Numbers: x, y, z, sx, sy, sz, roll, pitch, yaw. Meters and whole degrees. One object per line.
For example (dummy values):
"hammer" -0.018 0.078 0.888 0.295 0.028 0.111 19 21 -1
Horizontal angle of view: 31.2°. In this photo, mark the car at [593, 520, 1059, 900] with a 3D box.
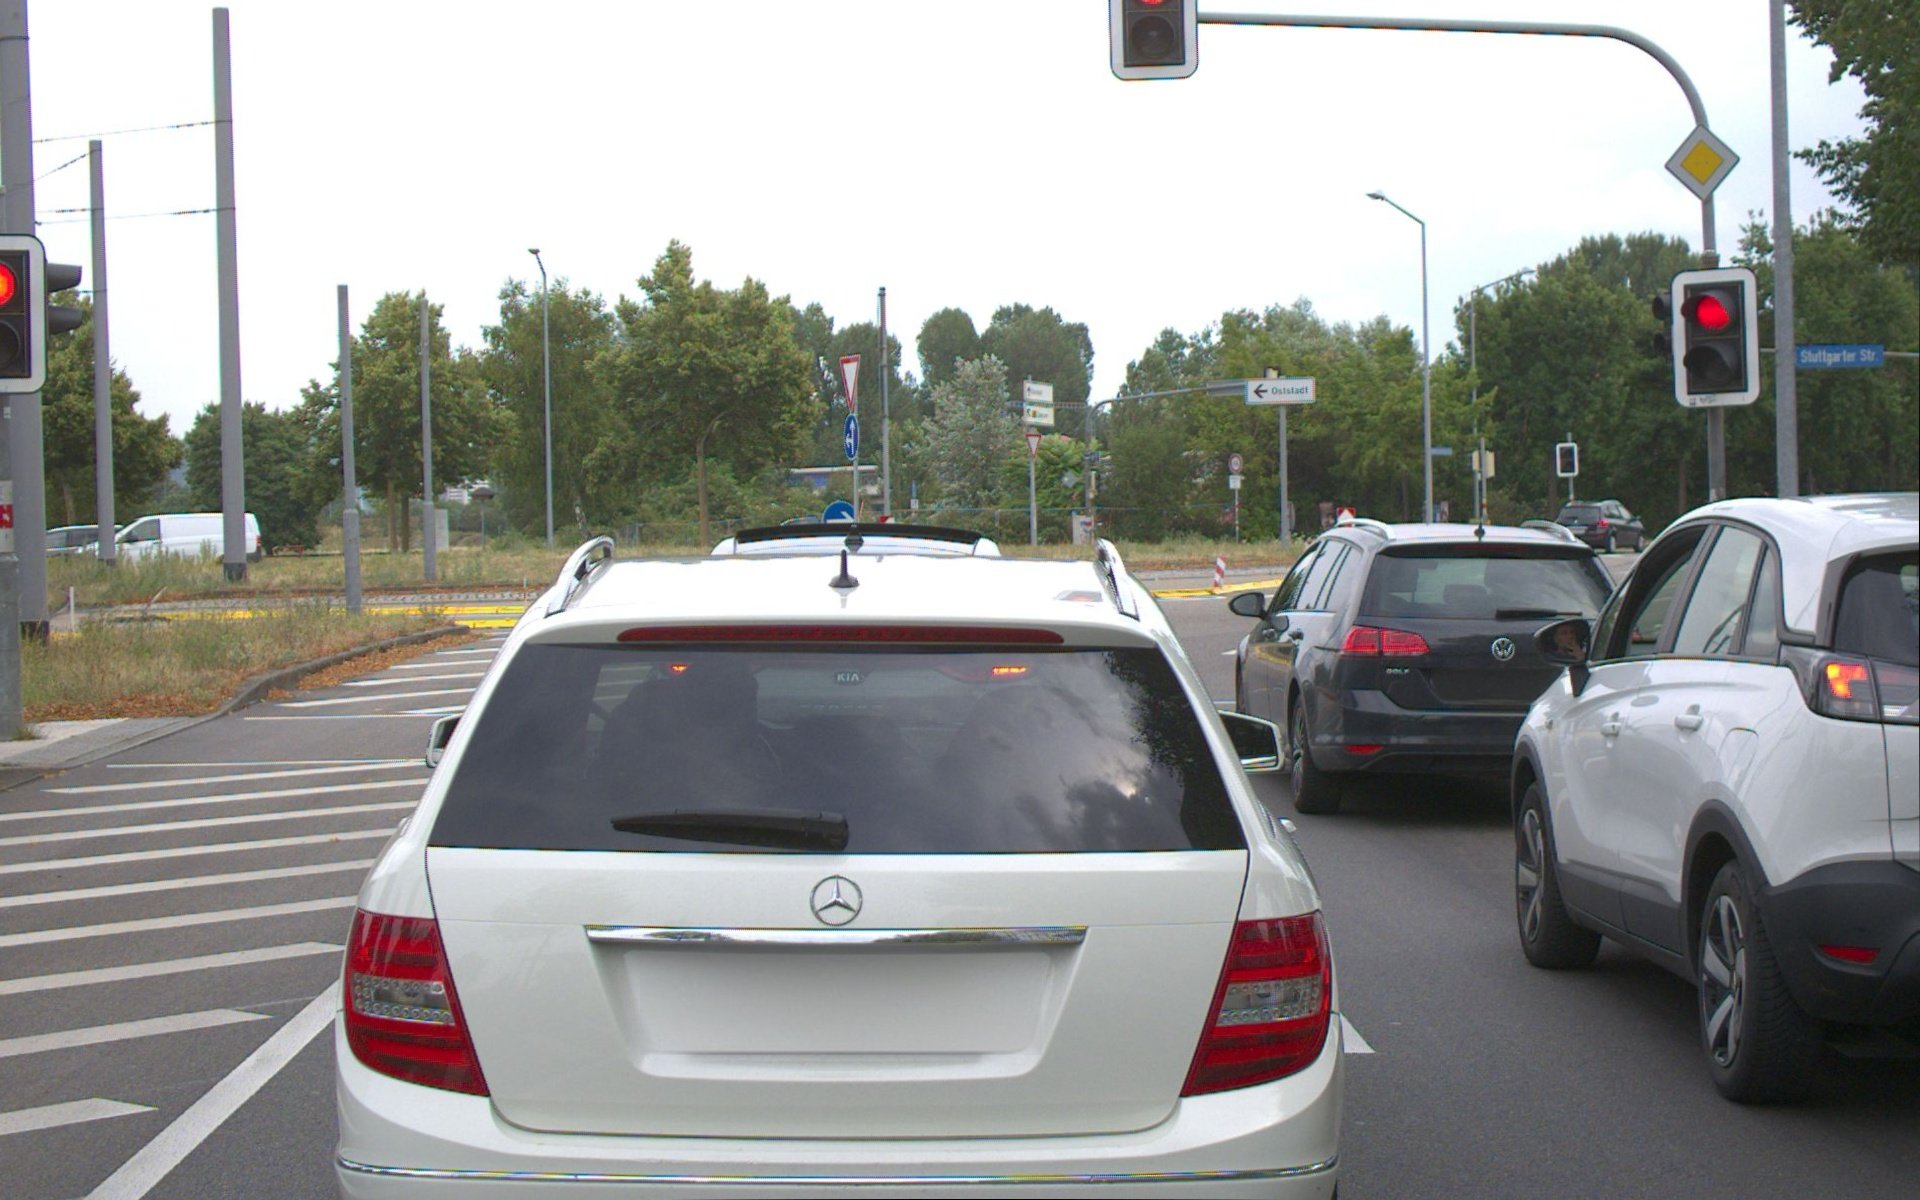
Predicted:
"car" -0.595 0.379 15.128 1.773 1.443 3.911 0 1 -2

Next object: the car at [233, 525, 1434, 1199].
"car" -0.269 0.582 7.057 1.773 1.443 3.911 0 1 -2

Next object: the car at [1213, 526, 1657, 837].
"car" 2.378 0.343 18.119 1.624 1.443 3.911 0 1 -2

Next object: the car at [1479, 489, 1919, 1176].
"car" 2.738 0.489 10.086 1.787 1.619 3.911 -1 1 0

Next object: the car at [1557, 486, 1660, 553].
"car" 18.447 -2.277 97.644 1.996 1.784 3.995 2 1 23

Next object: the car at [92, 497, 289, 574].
"car" -21.271 -1.798 95.052 4.982 2.006 2.001 -2 2 -23

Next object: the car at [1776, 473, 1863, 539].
"car" 22.042 -2.427 88.312 1.784 1.630 4.400 -1 2 9
